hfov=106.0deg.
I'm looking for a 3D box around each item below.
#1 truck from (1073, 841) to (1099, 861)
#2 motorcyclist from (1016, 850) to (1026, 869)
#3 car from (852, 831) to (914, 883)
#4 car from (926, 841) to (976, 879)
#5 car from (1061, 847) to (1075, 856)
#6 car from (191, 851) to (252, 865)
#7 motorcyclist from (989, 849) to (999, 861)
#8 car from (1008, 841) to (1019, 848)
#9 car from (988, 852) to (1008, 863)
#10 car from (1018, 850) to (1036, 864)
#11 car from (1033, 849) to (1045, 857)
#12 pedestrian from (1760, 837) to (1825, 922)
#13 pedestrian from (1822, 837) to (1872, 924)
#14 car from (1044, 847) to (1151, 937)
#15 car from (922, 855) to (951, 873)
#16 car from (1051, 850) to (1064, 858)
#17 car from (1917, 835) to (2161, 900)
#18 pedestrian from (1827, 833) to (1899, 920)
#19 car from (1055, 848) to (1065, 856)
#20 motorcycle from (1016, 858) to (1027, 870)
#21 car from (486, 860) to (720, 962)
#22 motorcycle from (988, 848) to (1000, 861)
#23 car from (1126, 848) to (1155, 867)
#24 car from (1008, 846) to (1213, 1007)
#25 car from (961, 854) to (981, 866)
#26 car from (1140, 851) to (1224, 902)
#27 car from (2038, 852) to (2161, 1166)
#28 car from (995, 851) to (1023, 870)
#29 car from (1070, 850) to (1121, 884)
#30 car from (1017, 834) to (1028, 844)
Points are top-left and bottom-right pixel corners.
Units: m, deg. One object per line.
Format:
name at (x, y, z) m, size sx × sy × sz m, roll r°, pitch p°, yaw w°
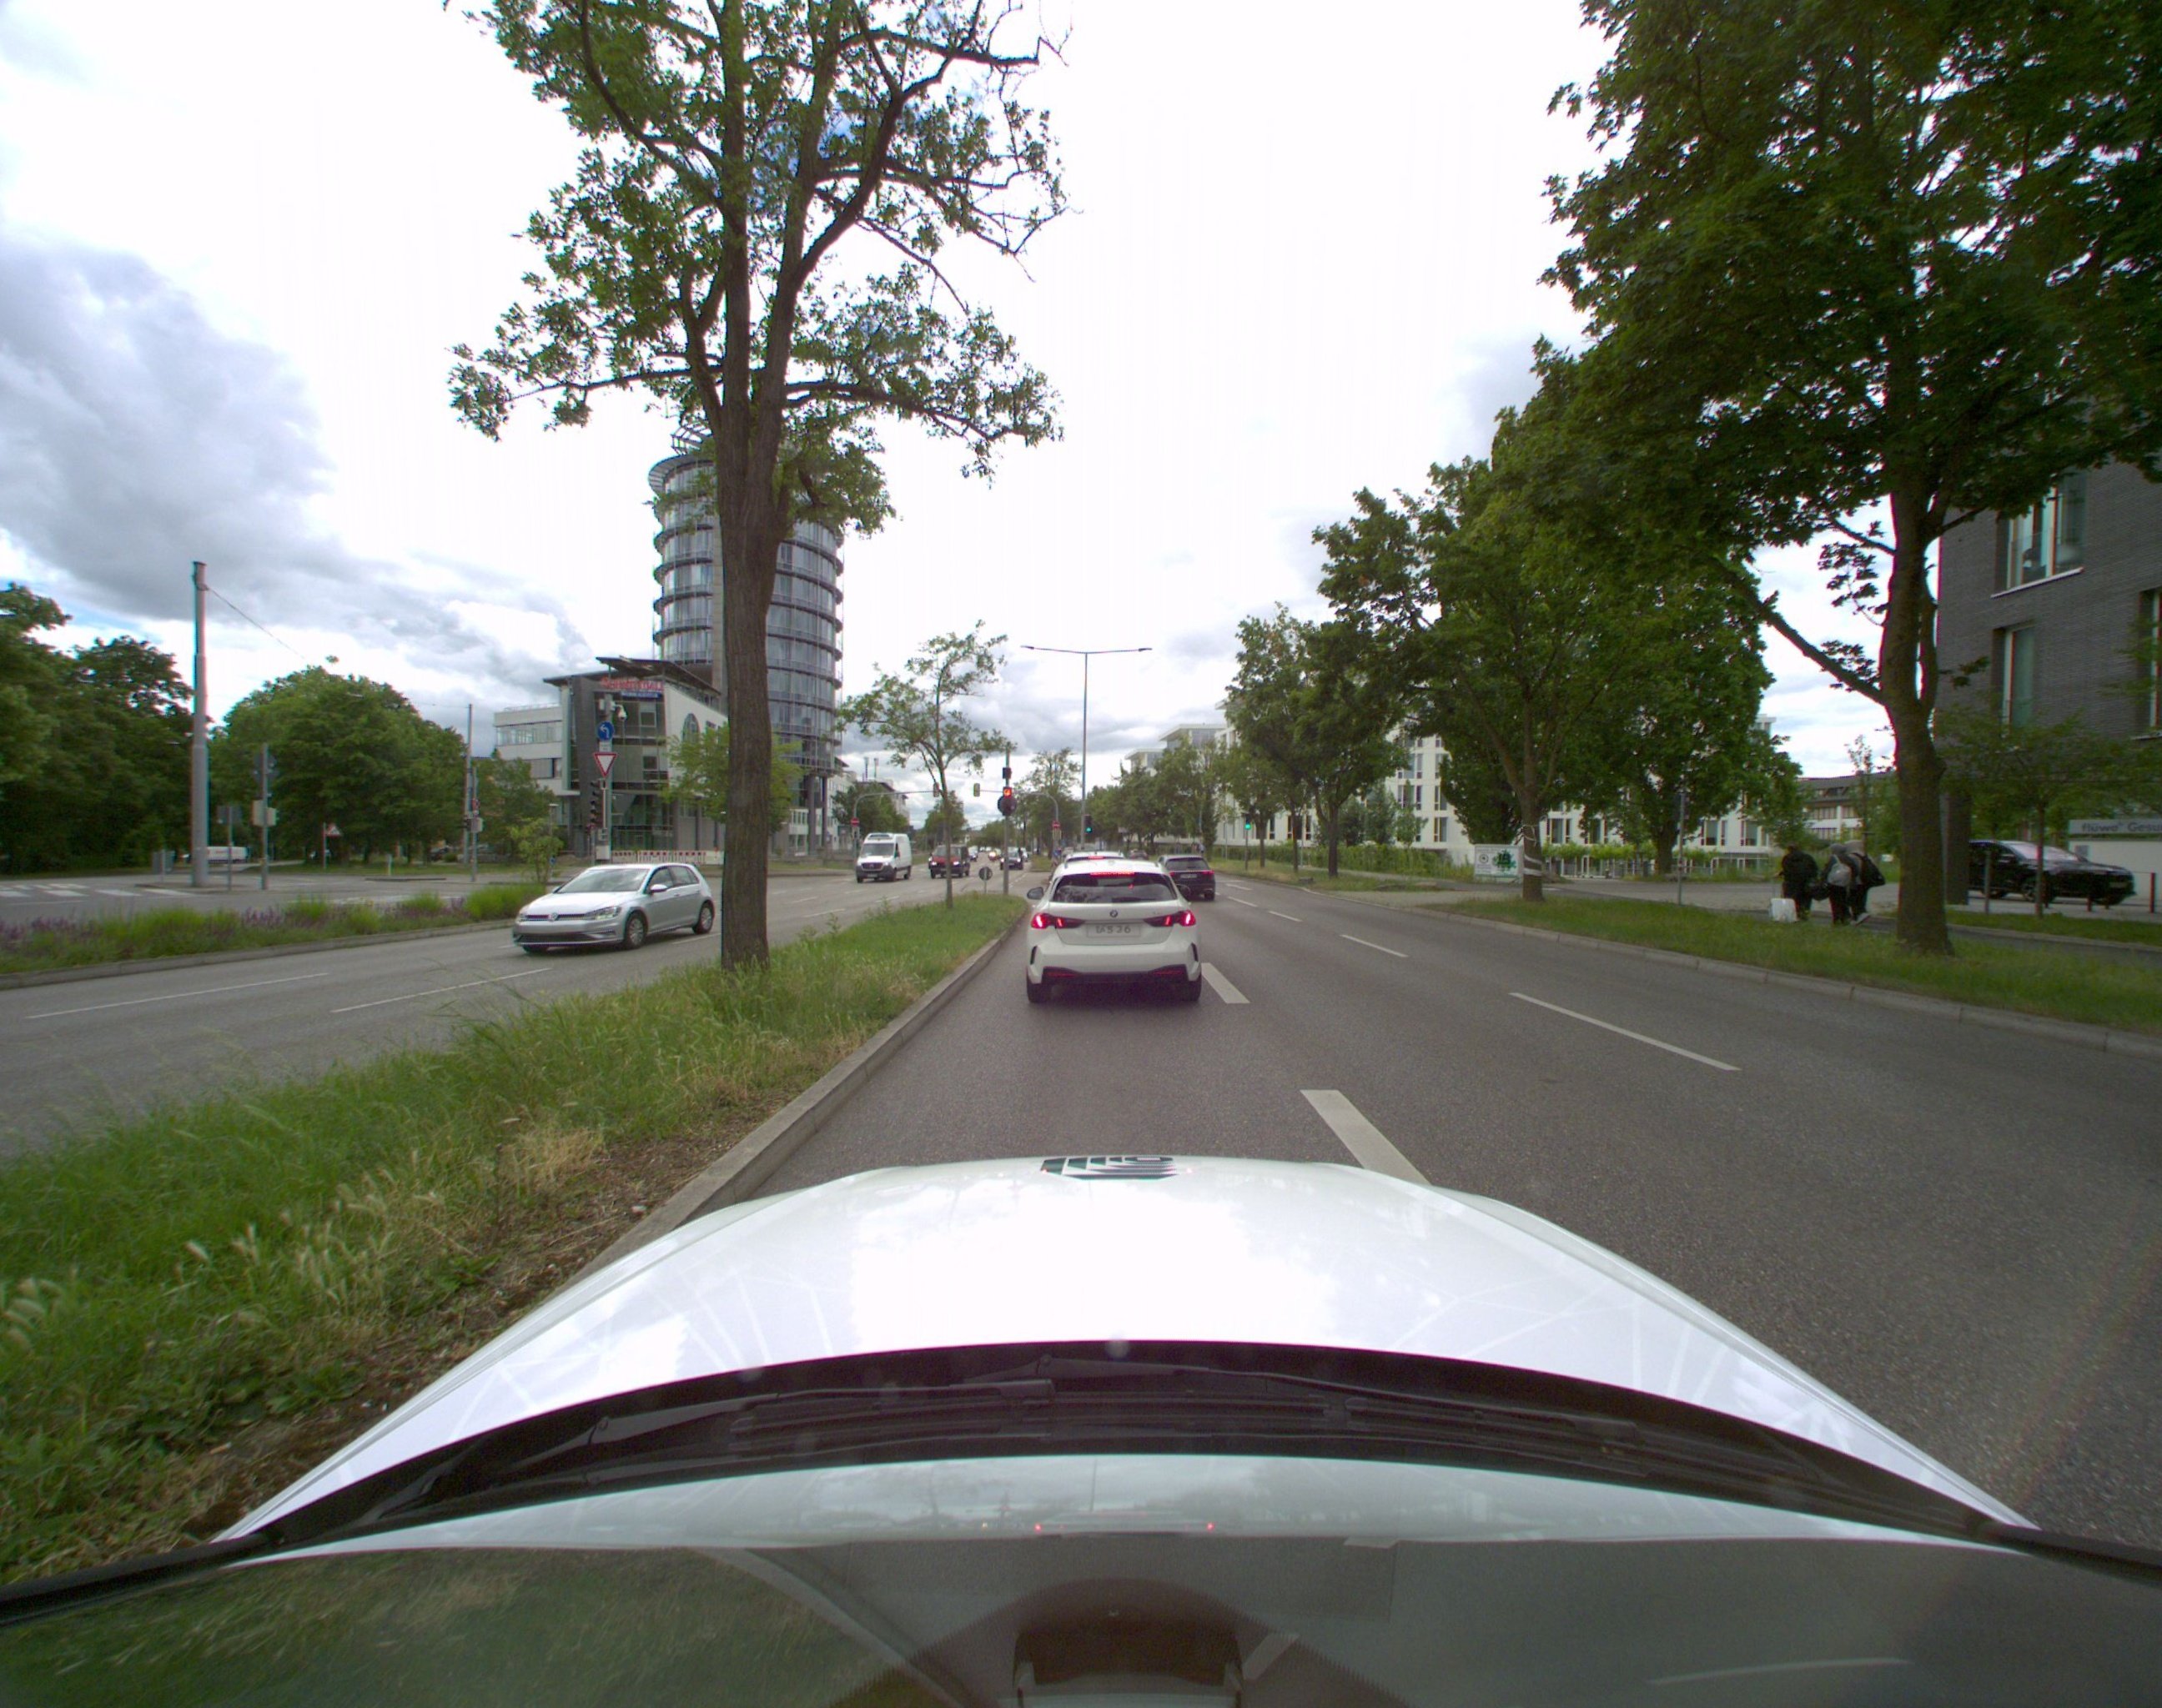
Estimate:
truck at (0.622, -0.370, 110.373) m, size 2.856 × 2.519 × 6.273 m, roll 0°, pitch 0°, yaw -6°
motorcyclist at (-5.773, 0.518, 78.037) m, size 0.845 × 1.837 × 1.260 m, roll 0°, pitch 0°, yaw 1°
car at (-10.751, 0.148, 44.666) m, size 1.988 × 2.634 × 5.872 m, roll 2°, pitch 0°, yaw -1°
car at (-7.689, 0.312, 48.613) m, size 1.928 × 1.917 × 4.976 m, roll -3°, pitch 2°, yaw 2°
car at (-2.036, -0.404, 128.491) m, size 1.991 × 1.508 × 3.992 m, roll 0°, pitch 0°, yaw -5°
car at (-127.938, 0.619, 121.305) m, size 1.977 × 2.013 × 6.012 m, roll 0°, pitch 0°, yaw 19°
motorcyclist at (-10.115, 0.111, 94.518) m, size 0.906 × 1.392 × 1.674 m, roll 0°, pitch 0°, yaw 2°
car at (-15.948, -2.261, 193.227) m, size 1.986 × 1.618 × 4.002 m, roll 2°, pitch 0°, yaw 2°
car at (-10.631, 0.485, 104.786) m, size 1.986 × 1.354 × 4.002 m, roll 0°, pitch 0°, yaw 2°
car at (-6.255, 0.345, 95.062) m, size 1.701 × 1.497 × 3.804 m, roll -1°, pitch 0°, yaw 2°
car at (-8.057, -0.281, 156.661) m, size 1.988 × 1.490 × 3.998 m, roll 1°, pitch 0°, yaw -1°
pedestrian at (13.332, 0.469, 15.280) m, size 0.721 × 1.552 × 0.588 m, roll 0°, pitch 0°, yaw 6°
pedestrian at (14.138, 0.483, 15.041) m, size 0.407 × 1.552 × 0.563 m, roll 2°, pitch -1°, yaw 7°
car at (0.401, 0.722, 17.236) m, size 1.985 × 1.672 × 4.002 m, roll 0°, pitch 0°, yaw 2°
car at (-12.273, 0.834, 69.314) m, size 1.701 × 1.419 × 3.804 m, roll -1°, pitch 0°, yaw 2°
car at (-4.331, 0.035, 151.295) m, size 1.992 × 1.508 × 3.990 m, roll 0°, pitch 0°, yaw -7°
car at (25.030, 0.316, 21.513) m, size 1.817 × 1.552 × 4.183 m, roll 0°, pitch 0°, yaw 4°
pedestrian at (14.520, 0.411, 15.137) m, size 0.586 × 1.552 × 0.745 m, roll -2°, pitch 0°, yaw 7°
car at (-3.990, -0.392, 154.998) m, size 1.988 × 1.490 × 3.998 m, roll 1°, pitch 0°, yaw -1°
motorcycle at (-5.683, 0.936, 78.120) m, size 0.835 × 1.064 × 2.654 m, roll 0°, pitch 0°, yaw 2°
car at (-8.213, 0.884, 14.508) m, size 1.748 × 1.444 × 4.133 m, roll -2°, pitch 0°, yaw -1°
motorcycle at (-10.115, 0.038, 94.705) m, size 0.886 × 1.398 × 4.002 m, roll 0°, pitch 0°, yaw 2°
car at (5.051, 0.265, 69.299) m, size 1.989 × 1.596 × 3.995 m, roll 0°, pitch 0°, yaw -4°
car at (0.410, 0.669, 9.415) m, size 1.855 × 1.449 × 4.004 m, roll 0°, pitch 0°, yaw 4°
car at (-13.154, 0.704, 97.262) m, size 1.701 × 1.419 × 3.804 m, roll -1°, pitch 0°, yaw 2°
car at (3.192, 0.671, 26.746) m, size 2.047 × 1.486 × 4.971 m, roll -1°, pitch 0°, yaw -1°
car at (5.866, 0.723, 1.954) m, size 1.786 × 1.472 × 4.703 m, roll 0°, pitch 0°, yaw 3°
car at (-5.578, 0.488, 63.786) m, size 1.747 × 1.371 × 3.781 m, roll -1°, pitch 0°, yaw 2°
car at (0.739, 0.592, 38.626) m, size 1.983 × 1.508 × 4.008 m, roll 0°, pitch 0°, yaw 7°
car at (-12.675, -3.149, 176.178) m, size 1.988 × 2.010 × 4.322 m, roll 2°, pitch 0°, yaw -1°
